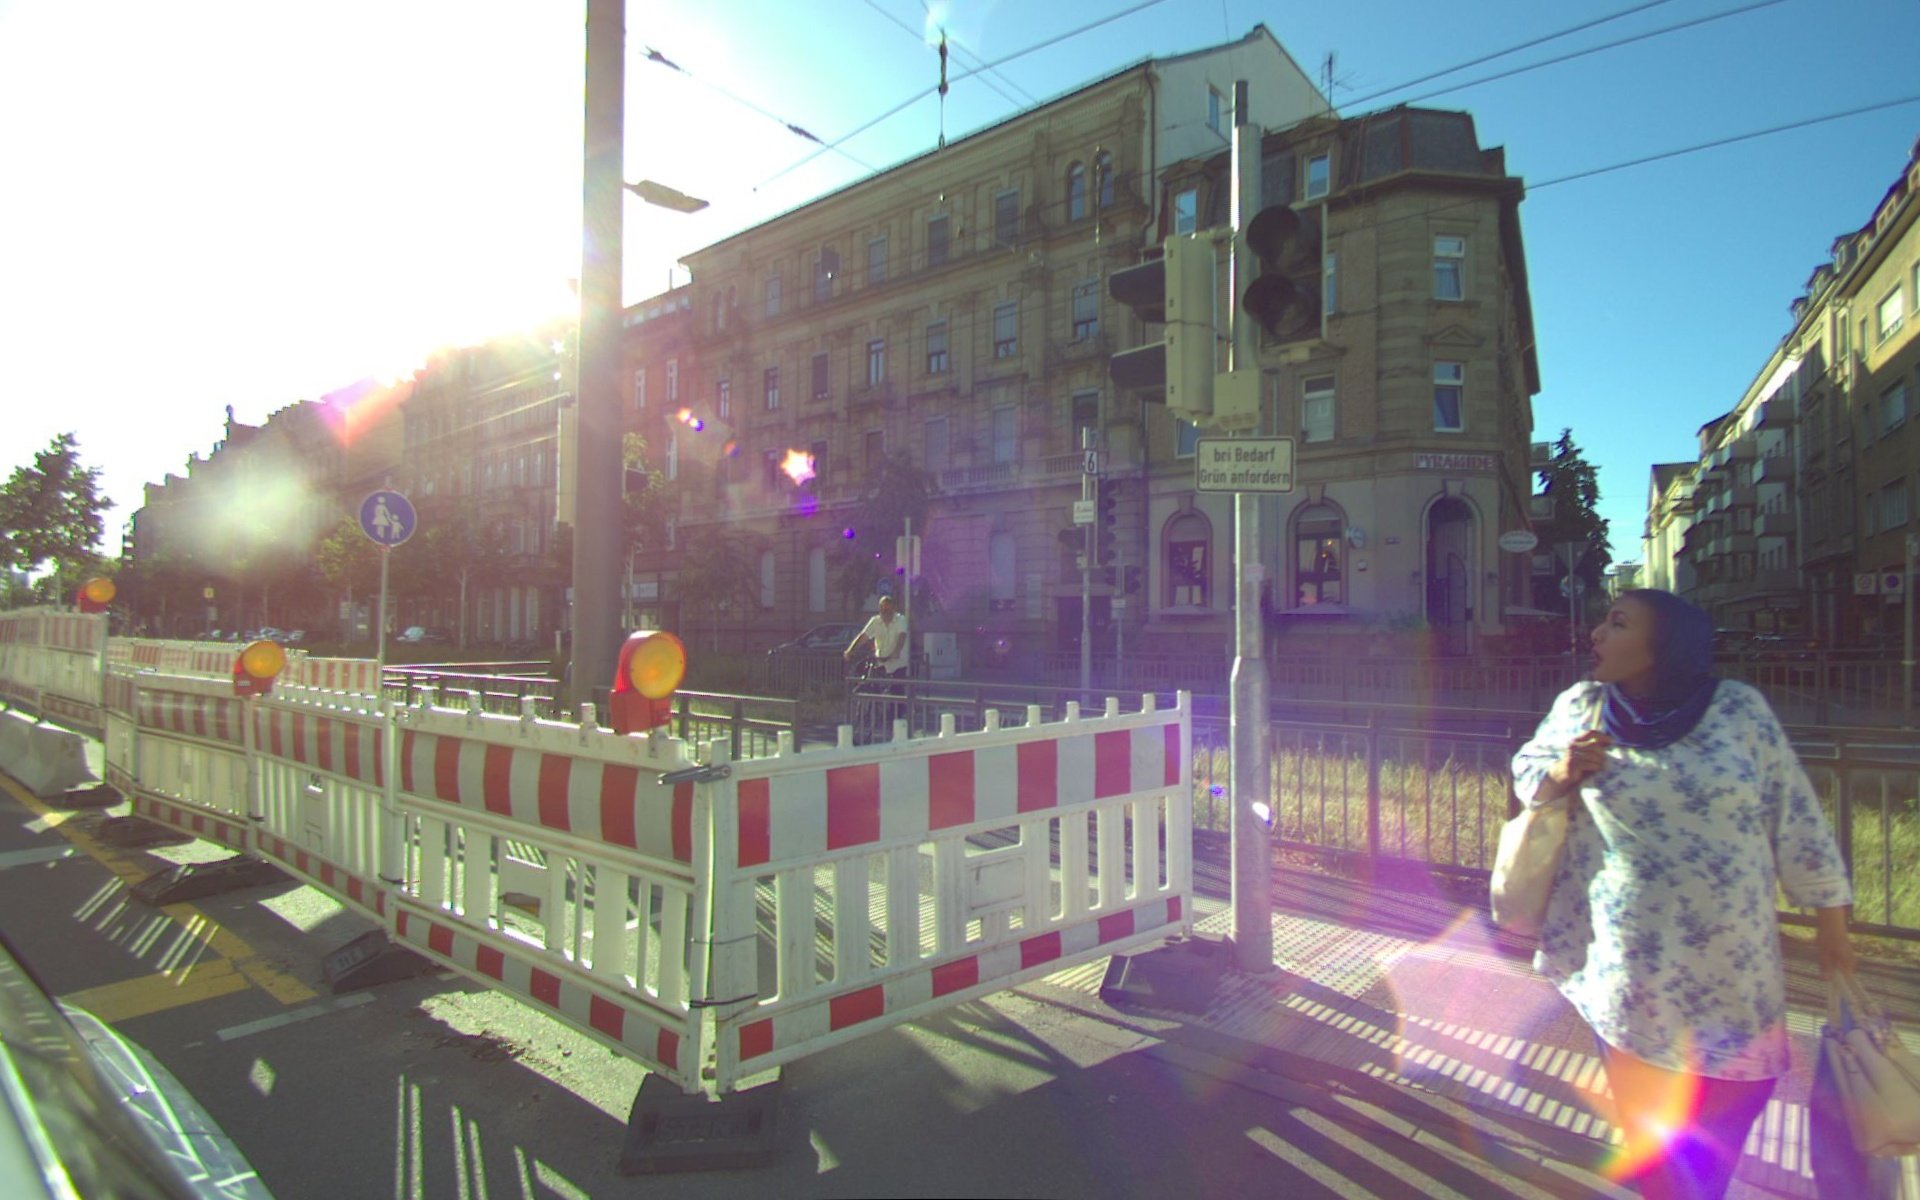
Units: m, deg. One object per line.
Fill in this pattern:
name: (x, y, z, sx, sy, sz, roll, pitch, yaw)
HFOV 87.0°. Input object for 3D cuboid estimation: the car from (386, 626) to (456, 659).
car: (-29.327, 2.274, 55.017, 4.544, 1.671, 1.917, -1, 0, 43)

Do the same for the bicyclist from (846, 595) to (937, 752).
bicyclist: (-0.799, 0.844, 12.036, 0.848, 1.787, 0.881, 0, -2, 15)

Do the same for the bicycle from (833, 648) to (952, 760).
bicycle: (-0.758, 1.183, 12.092, 0.848, 1.162, 1.988, 0, -1, 14)

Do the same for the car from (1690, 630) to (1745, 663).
car: (37.025, 2.223, 49.538, 1.731, 1.530, 3.752, 0, -2, 31)

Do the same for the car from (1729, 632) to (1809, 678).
car: (29.090, 1.945, 36.481, 1.731, 1.530, 3.752, 0, -2, 31)

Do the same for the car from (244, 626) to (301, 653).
car: (-46.938, 2.644, 69.058, 4.884, 1.710, 1.973, -1, 0, 40)

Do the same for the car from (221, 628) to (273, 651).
car: (-51.624, 2.863, 73.224, 4.982, 1.549, 1.973, -1, 0, 41)

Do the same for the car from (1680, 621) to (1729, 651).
car: (39.590, 1.893, 53.879, 1.731, 1.530, 3.752, 0, -2, 31)

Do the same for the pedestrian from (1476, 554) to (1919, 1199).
pedestrian: (1.708, 0.669, 2.150, 0.945, 1.469, 0.781, -1, -2, 39)

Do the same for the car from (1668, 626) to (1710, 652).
car: (45.019, 2.402, 62.555, 1.731, 1.530, 3.752, -1, -2, 31)

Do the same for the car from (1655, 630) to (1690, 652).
car: (51.646, 2.924, 73.397, 1.731, 1.530, 3.752, 0, -2, 31)

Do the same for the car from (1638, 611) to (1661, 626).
car: (71.835, 1.935, 105.474, 1.731, 1.530, 3.752, 0, -2, 31)

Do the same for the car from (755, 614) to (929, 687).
car: (-2.999, 1.201, 25.136, 4.475, 1.652, 1.777, -1, -2, 42)

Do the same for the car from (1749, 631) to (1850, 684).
car: (26.315, 1.738, 31.848, 1.820, 1.530, 3.958, 0, -2, 31)

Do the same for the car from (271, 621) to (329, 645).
car: (-42.442, 2.121, 65.039, 4.305, 1.449, 1.973, -1, 0, 40)

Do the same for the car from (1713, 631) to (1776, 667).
car: (34.641, 2.125, 44.779, 1.731, 1.530, 3.752, 0, -2, 31)
